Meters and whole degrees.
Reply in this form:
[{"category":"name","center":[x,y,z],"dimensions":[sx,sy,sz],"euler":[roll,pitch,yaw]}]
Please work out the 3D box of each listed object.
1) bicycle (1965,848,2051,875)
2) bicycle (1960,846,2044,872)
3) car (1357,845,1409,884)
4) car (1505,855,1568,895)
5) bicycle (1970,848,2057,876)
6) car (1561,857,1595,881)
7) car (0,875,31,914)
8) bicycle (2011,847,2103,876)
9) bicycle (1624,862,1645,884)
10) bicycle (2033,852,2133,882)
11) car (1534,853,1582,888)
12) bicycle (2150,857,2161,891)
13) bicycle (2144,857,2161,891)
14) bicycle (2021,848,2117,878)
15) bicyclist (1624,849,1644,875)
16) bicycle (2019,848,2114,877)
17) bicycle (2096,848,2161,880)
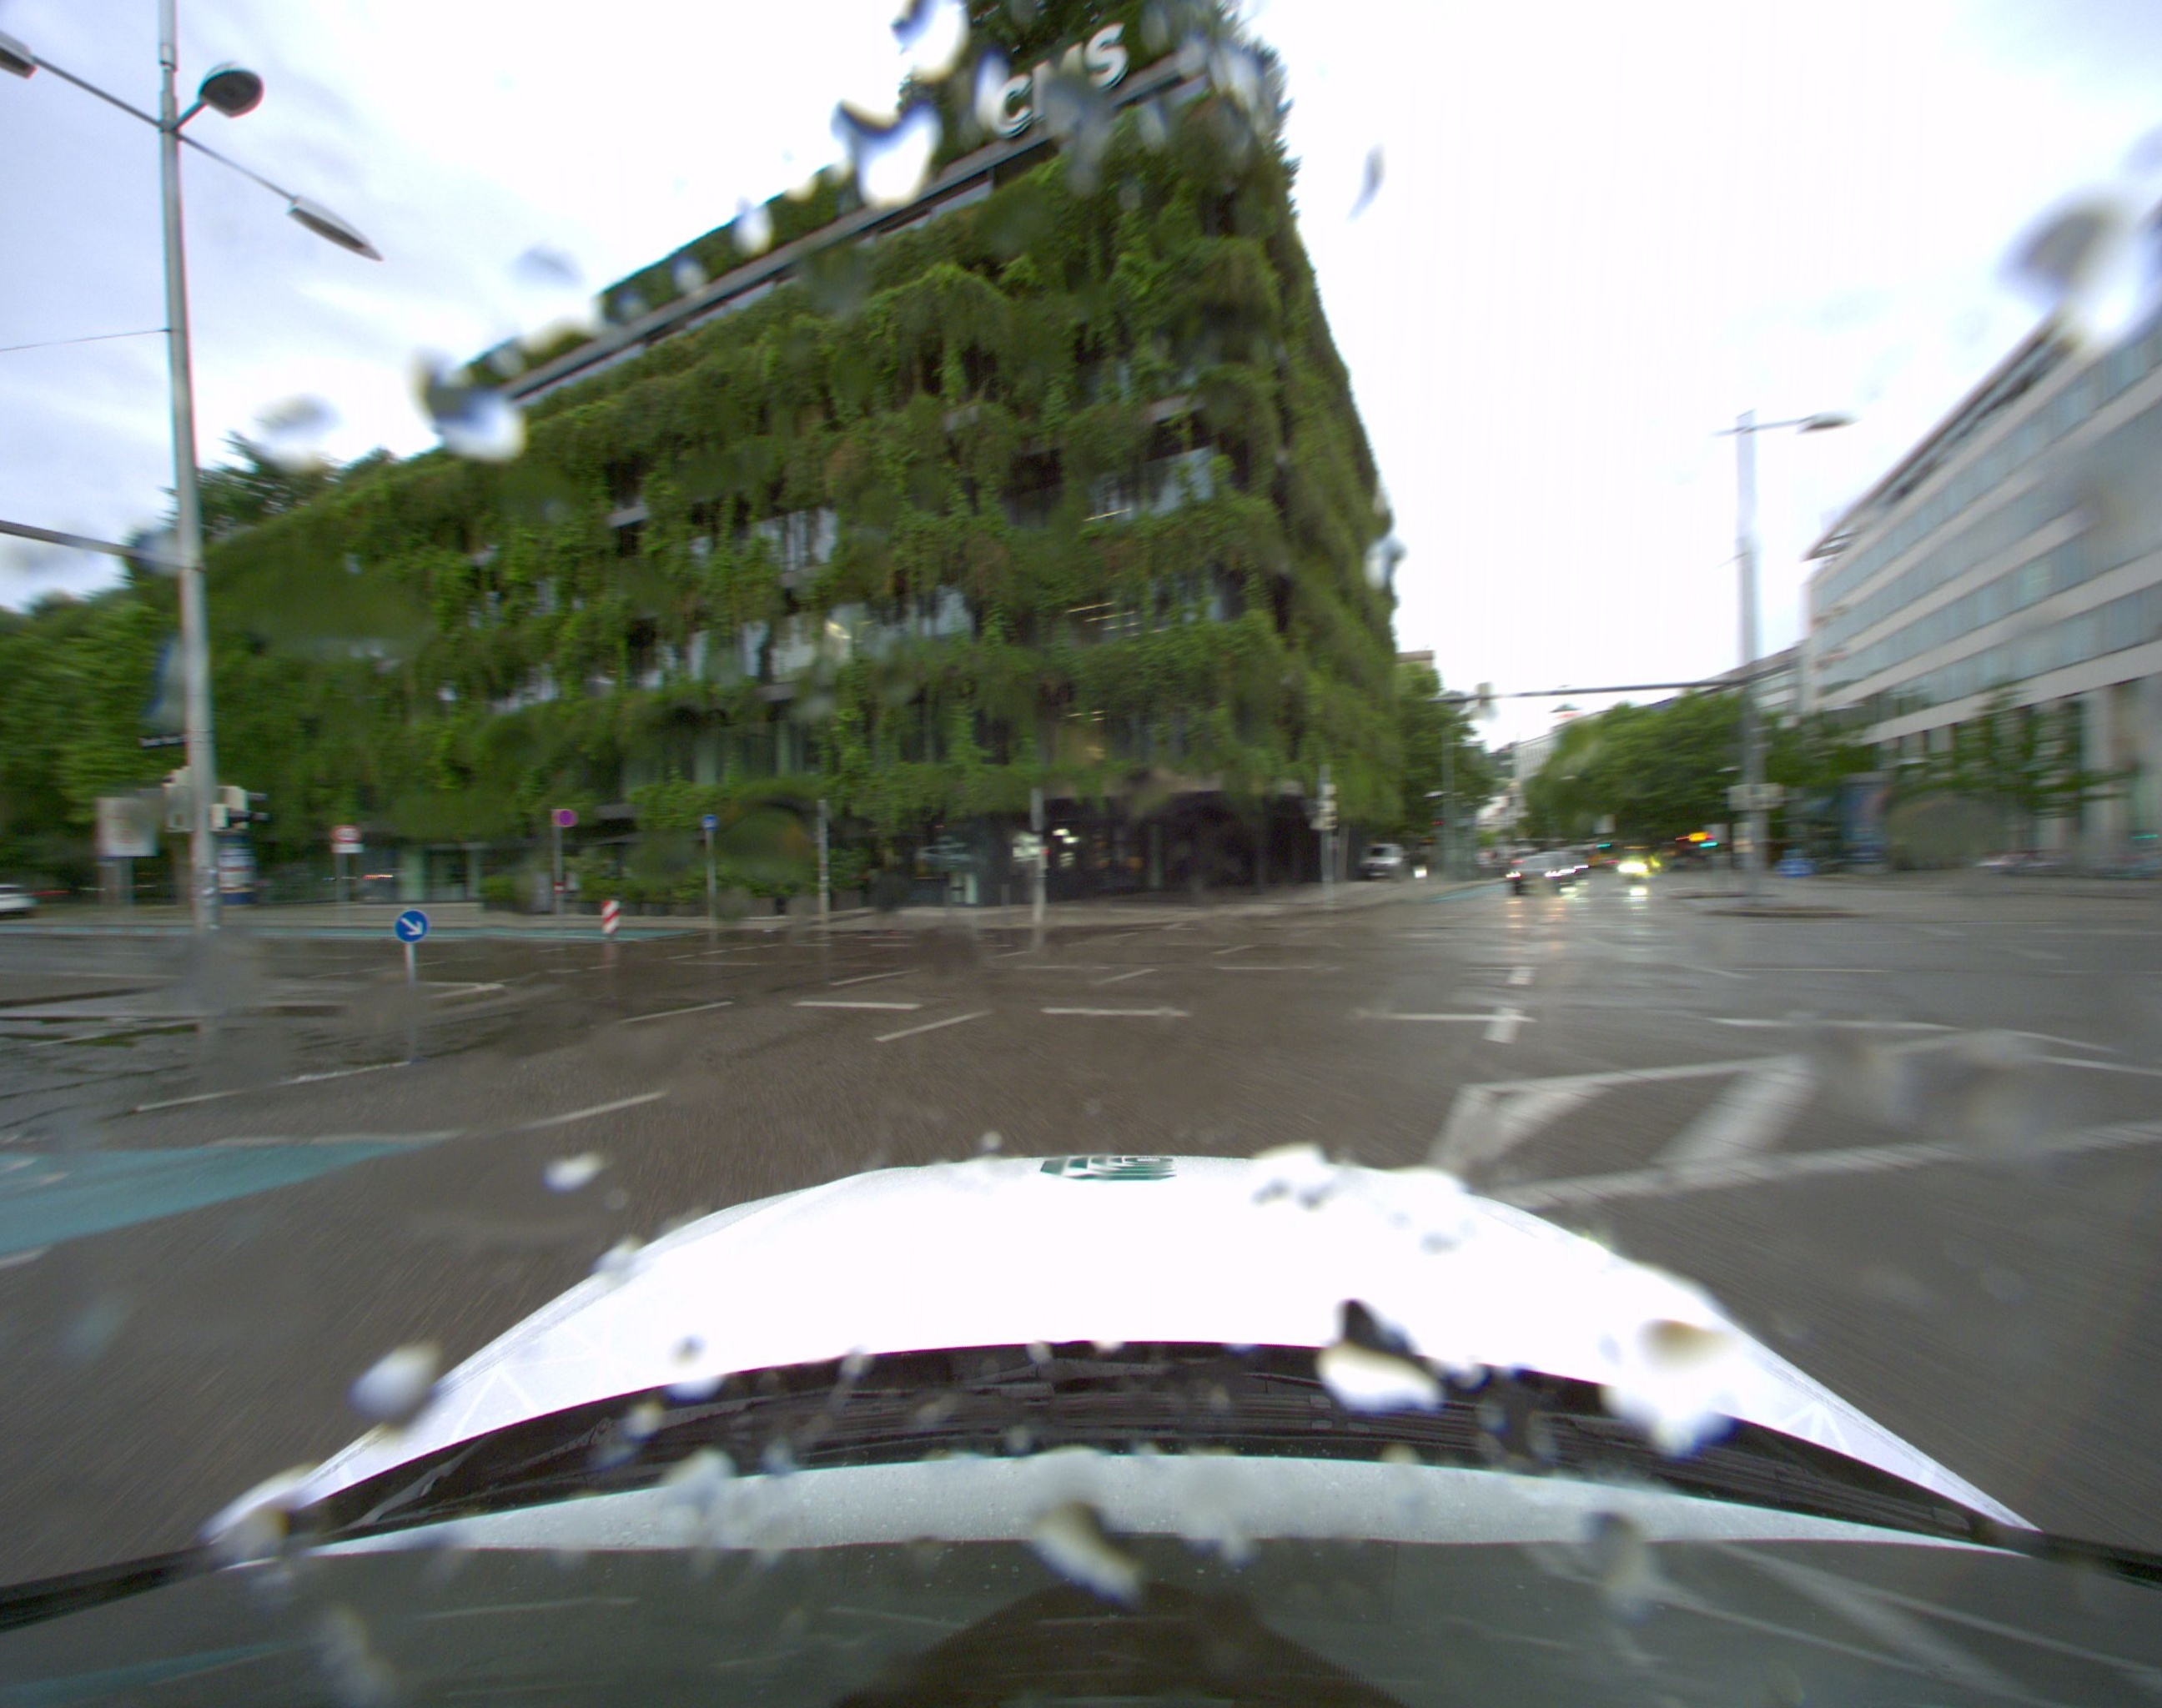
[{"category":"bicycle","center":[38.937,0.331,34.255],"dimensions":[2.318,1.098,0.492],"euler":[-2,-1,32]},{"category":"bicycle","center":[39.572,0.222,35.038],"dimensions":[2.318,1.098,0.492],"euler":[-2,-1,32]},{"category":"car","center":[16.078,0.544,43.194],"dimensions":[2.093,1.955,4.898],"euler":[-1,-1,26]},{"category":"car","center":[18.350,0.826,32.695],"dimensions":[1.804,1.499,4.229],"euler":[-2,-2,34]},{"category":"bicycle","center":[38.665,0.329,33.813],"dimensions":[2.318,1.098,0.492],"euler":[-2,-1,32]},{"category":"car","center":[36.072,1.100,59.061],"dimensions":[1.804,1.636,4.526],"euler":[-2,-2,34]},{"category":"car","center":[-54.793,2.071,40.644],"dimensions":[5.030,1.838,1.861],"euler":[-1,1,26]},{"category":"bicycle","center":[39.269,0.317,32.815],"dimensions":[2.318,1.098,0.492],"euler":[-2,-1,32]},{"category":"bicycle","center":[29.197,0.992,42.985],"dimensions":[0.798,1.136,2.104],"euler":[-2,-2,32]},{"category":"bicycle","center":[38.042,0.507,30.961],"dimensions":[2.318,1.098,0.492],"euler":[-2,-1,32]},{"category":"car","center":[25.307,0.864,43.144],"dimensions":[1.804,1.758,4.806],"euler":[-2,-2,34]},{"category":"bicycle","center":[35.406,0.625,25.673],"dimensions":[1.979,1.098,0.492],"euler":[-2,-1,44]},{"category":"bicycle","center":[35.766,0.621,26.100],"dimensions":[1.976,1.098,0.492],"euler":[-2,-1,44]},{"category":"bicycle","center":[38.537,0.363,31.806],"dimensions":[2.318,1.098,0.492],"euler":[-2,-1,32]},{"category":"bicyclist","center":[29.167,0.406,42.967],"dimensions":[0.786,1.336,0.748],"euler":[-2,-2,32]},{"category":"bicycle","center":[39.003,0.363,32.271],"dimensions":[2.318,1.098,0.492],"euler":[-2,-1,32]},{"category":"bicycle","center":[37.073,0.345,28.231],"dimensions":[2.318,1.098,0.492],"euler":[-2,-1,32]}]
